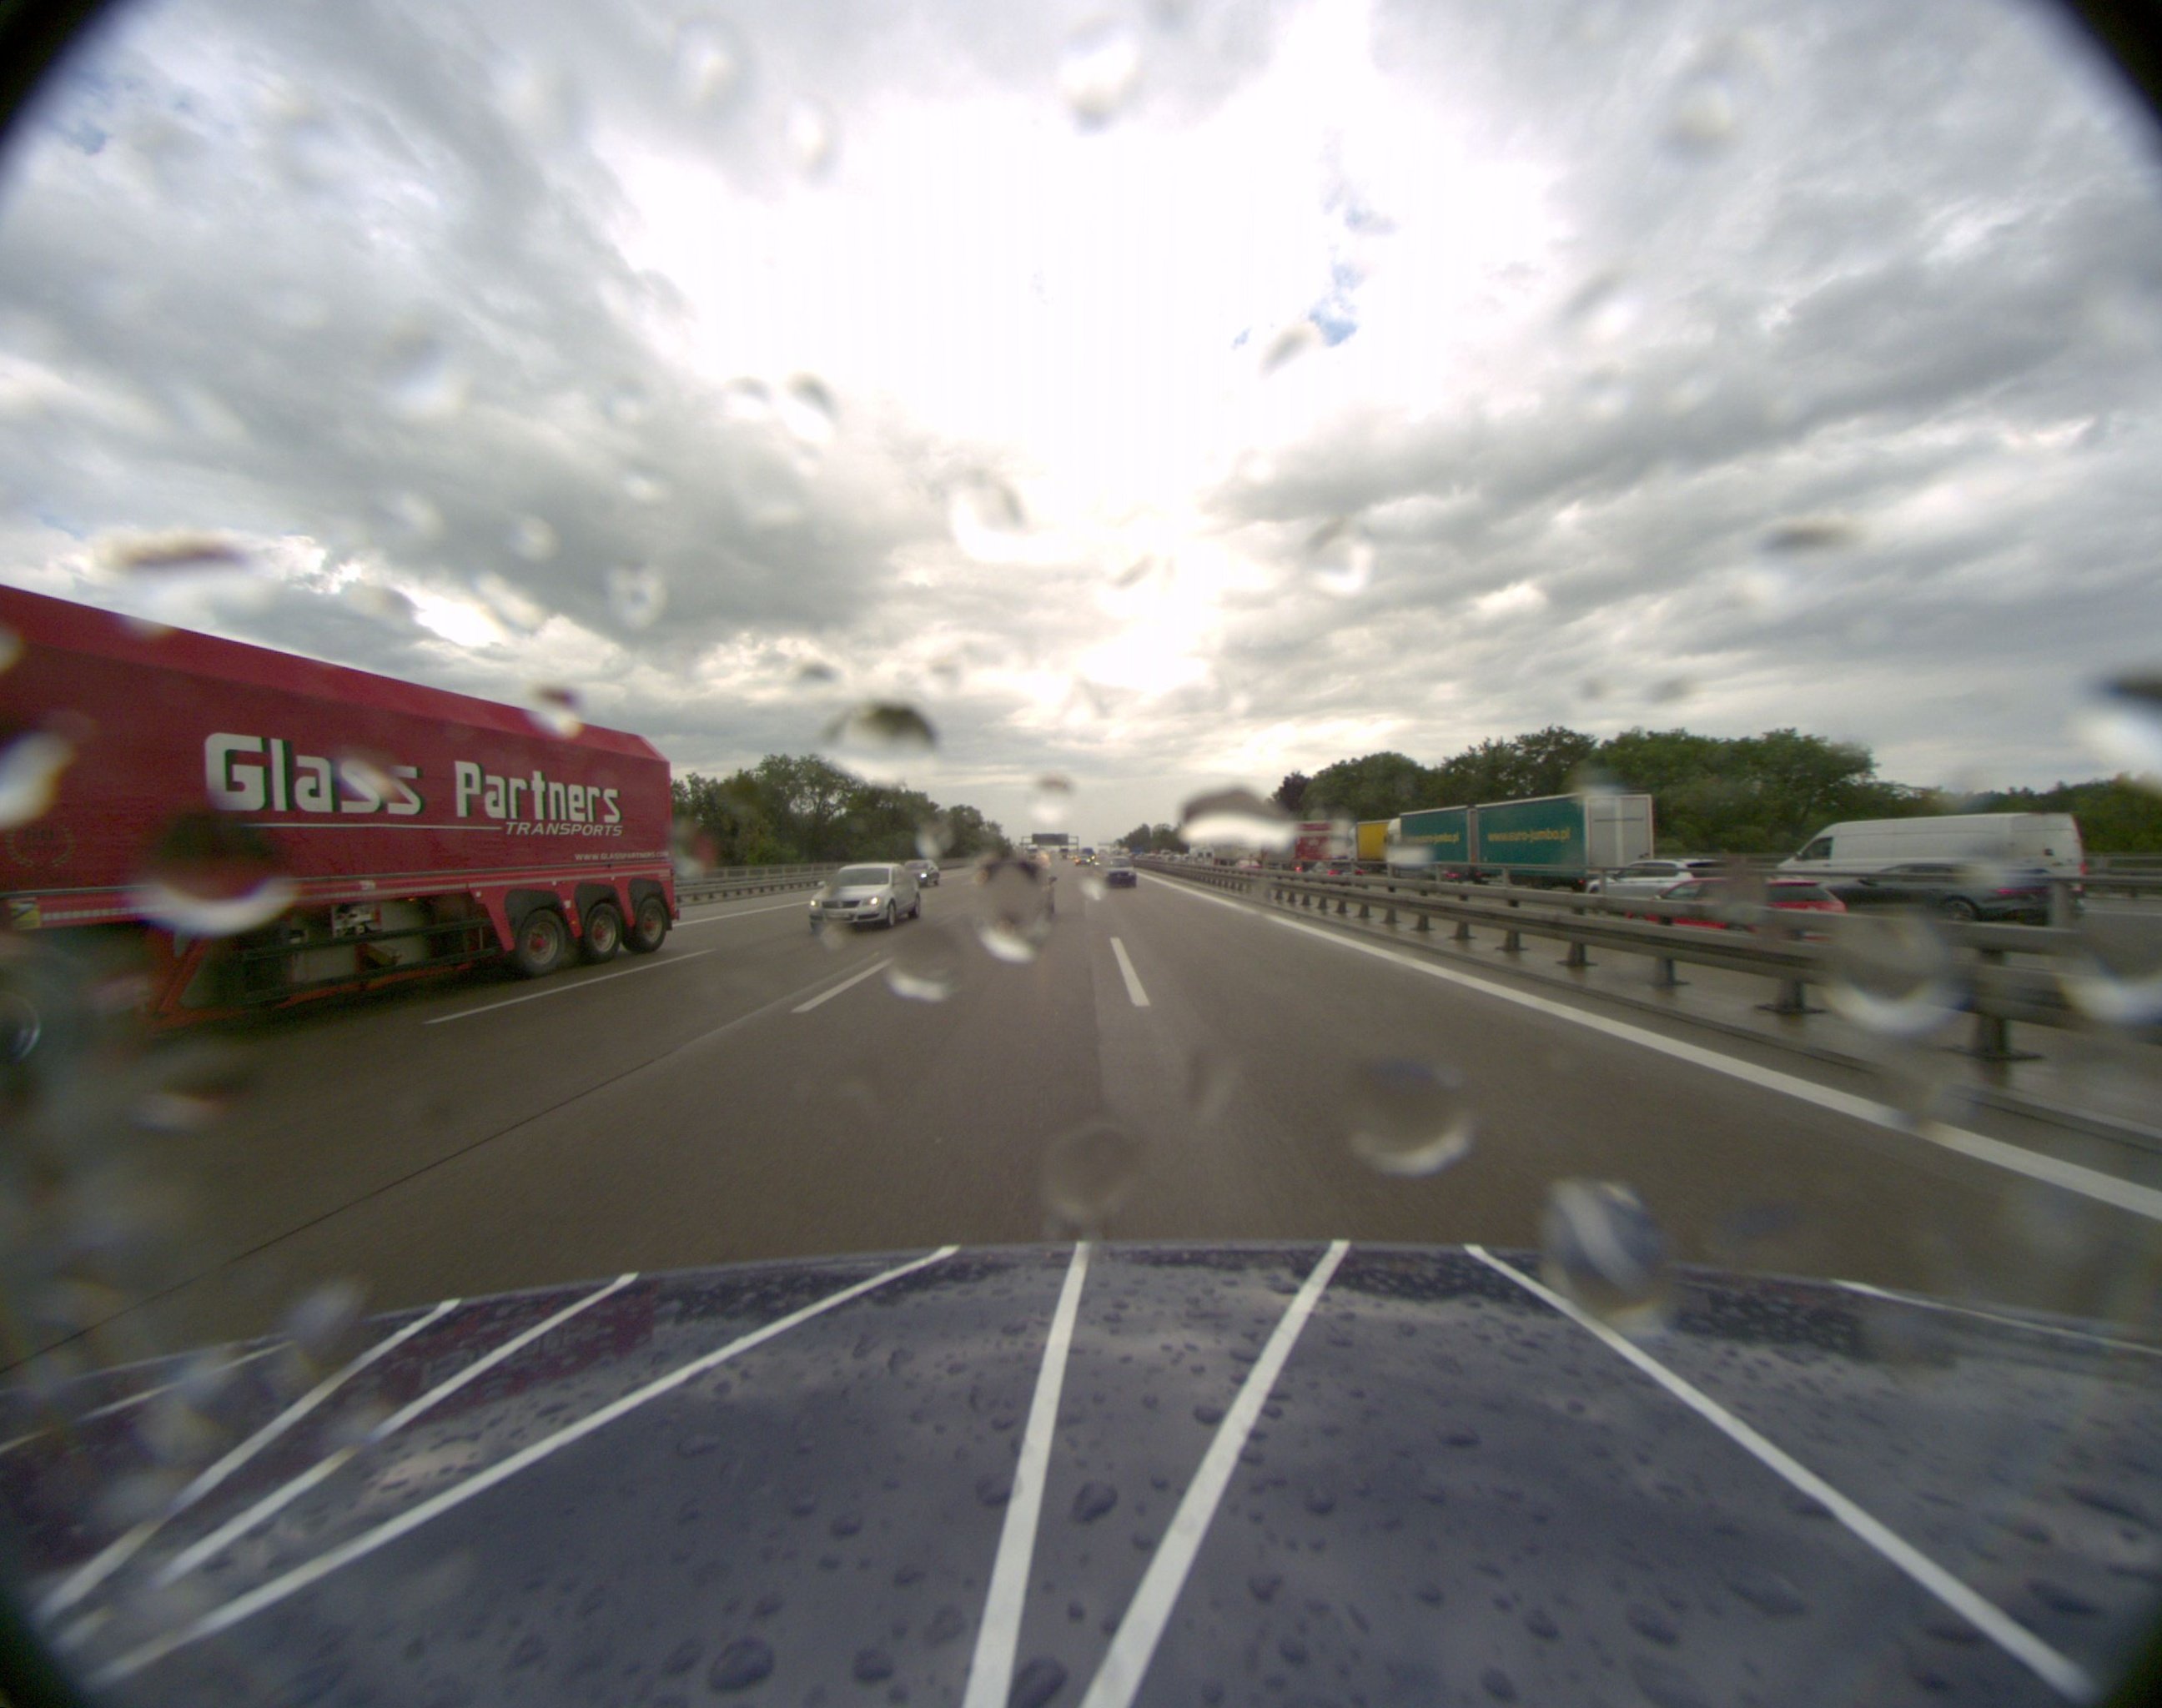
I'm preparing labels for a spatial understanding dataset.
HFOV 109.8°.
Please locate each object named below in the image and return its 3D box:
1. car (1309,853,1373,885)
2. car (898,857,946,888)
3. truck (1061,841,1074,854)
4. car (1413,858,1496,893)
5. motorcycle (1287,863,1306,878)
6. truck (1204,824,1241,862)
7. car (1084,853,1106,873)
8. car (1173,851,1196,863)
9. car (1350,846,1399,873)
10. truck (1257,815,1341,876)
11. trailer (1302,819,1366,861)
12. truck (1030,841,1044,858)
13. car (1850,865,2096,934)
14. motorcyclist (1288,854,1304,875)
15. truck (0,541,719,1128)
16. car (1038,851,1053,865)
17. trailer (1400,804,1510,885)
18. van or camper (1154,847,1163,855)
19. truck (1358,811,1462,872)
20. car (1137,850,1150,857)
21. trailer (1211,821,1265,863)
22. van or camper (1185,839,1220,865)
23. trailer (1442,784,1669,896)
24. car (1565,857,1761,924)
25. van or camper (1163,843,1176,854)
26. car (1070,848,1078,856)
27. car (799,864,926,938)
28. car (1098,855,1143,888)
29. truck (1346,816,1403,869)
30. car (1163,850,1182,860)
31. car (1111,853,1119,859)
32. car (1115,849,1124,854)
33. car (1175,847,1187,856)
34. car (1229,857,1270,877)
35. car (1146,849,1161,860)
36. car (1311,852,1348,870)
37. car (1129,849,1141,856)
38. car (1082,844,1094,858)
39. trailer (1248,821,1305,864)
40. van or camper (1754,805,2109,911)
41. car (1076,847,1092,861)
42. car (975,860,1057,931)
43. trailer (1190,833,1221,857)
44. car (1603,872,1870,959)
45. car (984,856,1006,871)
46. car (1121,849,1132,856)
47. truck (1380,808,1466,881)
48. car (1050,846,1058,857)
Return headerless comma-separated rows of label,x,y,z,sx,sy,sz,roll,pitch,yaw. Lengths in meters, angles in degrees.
car,12.811,0.696,37.698,1.836,1.443,4.000,-1,0,1
car,-8.832,1.000,42.498,1.820,1.534,4.357,-2,0,-2
truck,-4.182,-1.907,225.187,2.958,3.777,12.322,-2,0,-5
car,16.905,0.955,34.619,1.836,1.443,4.000,-1,0,1
motorcycle,14.003,1.053,49.455,0.735,0.960,1.789,-1,0,1
truck,16.380,-1.245,88.528,2.888,4.156,7.555,-1,1,-1
car,1.177,0.743,64.804,1.751,1.489,4.015,-2,1,1
car,12.505,0.323,92.130,1.927,1.410,5.163,-1,0,-1
car,20.899,0.366,54.244,1.998,1.820,4.000,-2,1,2
truck,16.337,-0.643,58.128,2.991,4.125,12.522,-1,0,1
trailer,26.029,-1.385,78.953,2.765,3.970,12.306,-1,0,1
truck,-10.624,-1.130,183.187,3.255,3.884,12.309,-2,0,-4
car,20.035,0.958,17.303,1.577,1.325,3.432,-1,0,1
motorcyclist,13.996,0.665,49.425,0.730,1.333,1.030,-1,1,1
truck,-8.905,-0.109,7.419,3.160,3.980,15.635,-2,0,0
car,-4.840,0.533,102.994,1.962,1.831,3.999,-1,1,-2
trailer,20.325,-0.527,41.739,2.842,4.006,6.313,-2,1,0
van or camper,22.920,-0.991,224.630,1.945,2.291,6.233,-1,0,-1
truck,23.924,-0.852,56.189,2.727,3.959,11.693,-1,0,1
car,11.983,-0.151,145.736,1.767,1.375,4.819,-1,0,-2
trailer,16.472,-1.204,80.593,2.888,4.121,13.026,-1,0,0
van or camper,12.291,-0.190,77.286,2.284,2.481,7.301,-1,0,0
trailer,20.257,-0.552,33.790,2.825,4.038,11.601,-2,0,1
car,16.143,0.934,21.476,1.768,1.615,4.779,-1,0,-2
van or camper,22.689,-1.357,195.454,2.208,2.749,7.229,-1,0,-3
car,-1.842,-0.629,203.572,1.999,2.002,3.507,-2,1,-1
car,-5.051,1.017,18.164,1.898,1.438,4.245,-2,0,-2
car,1.809,0.764,36.006,1.781,1.399,5.016,-2,0,0
truck,23.968,-0.931,62.194,2.709,4.046,5.108,-1,1,1
car,12.606,0.084,104.989,2.020,1.379,5.458,-1,0,-1
car,9.901,0.640,220.944,1.830,1.665,5.356,-1,0,-2
car,10.577,-0.586,208.135,1.879,1.384,5.363,-1,0,-3
car,23.329,-0.591,177.575,1.999,2.002,5.410,-1,1,-3
car,12.610,0.949,57.046,1.927,1.410,5.011,-1,0,-1
car,12.236,0.026,127.811,1.918,1.756,5.330,-1,0,-1
car,20.202,0.564,61.992,1.603,1.336,4.194,-1,0,-1
car,11.677,-0.325,163.760,2.000,1.454,4.840,-1,0,-3
car,1.194,-0.497,130.759,1.999,2.354,4.171,-2,1,-1
trailer,20.370,-1.182,80.010,2.887,4.121,13.028,-1,0,1
van or camper,24.255,0.075,22.436,2.249,2.563,7.362,-1,0,0
car,0.405,-0.011,99.431,2.133,1.831,4.000,-1,1,1
car,-1.500,0.934,18.979,1.668,1.431,4.404,-2,1,0
trailer,23.382,-1.669,143.704,3.256,4.203,14.507,-1,0,0
car,12.675,1.106,15.132,1.577,1.346,4.384,-1,0,1
car,-8.636,0.941,76.647,1.782,1.438,4.587,-2,0,-2
car,11.156,-0.377,186.937,1.871,1.816,5.707,-1,0,-3
truck,20.342,-0.554,45.536,2.852,4.006,4.963,-2,1,0
car,-6.695,-0.567,188.247,2.037,2.587,4.513,-1,0,-1
